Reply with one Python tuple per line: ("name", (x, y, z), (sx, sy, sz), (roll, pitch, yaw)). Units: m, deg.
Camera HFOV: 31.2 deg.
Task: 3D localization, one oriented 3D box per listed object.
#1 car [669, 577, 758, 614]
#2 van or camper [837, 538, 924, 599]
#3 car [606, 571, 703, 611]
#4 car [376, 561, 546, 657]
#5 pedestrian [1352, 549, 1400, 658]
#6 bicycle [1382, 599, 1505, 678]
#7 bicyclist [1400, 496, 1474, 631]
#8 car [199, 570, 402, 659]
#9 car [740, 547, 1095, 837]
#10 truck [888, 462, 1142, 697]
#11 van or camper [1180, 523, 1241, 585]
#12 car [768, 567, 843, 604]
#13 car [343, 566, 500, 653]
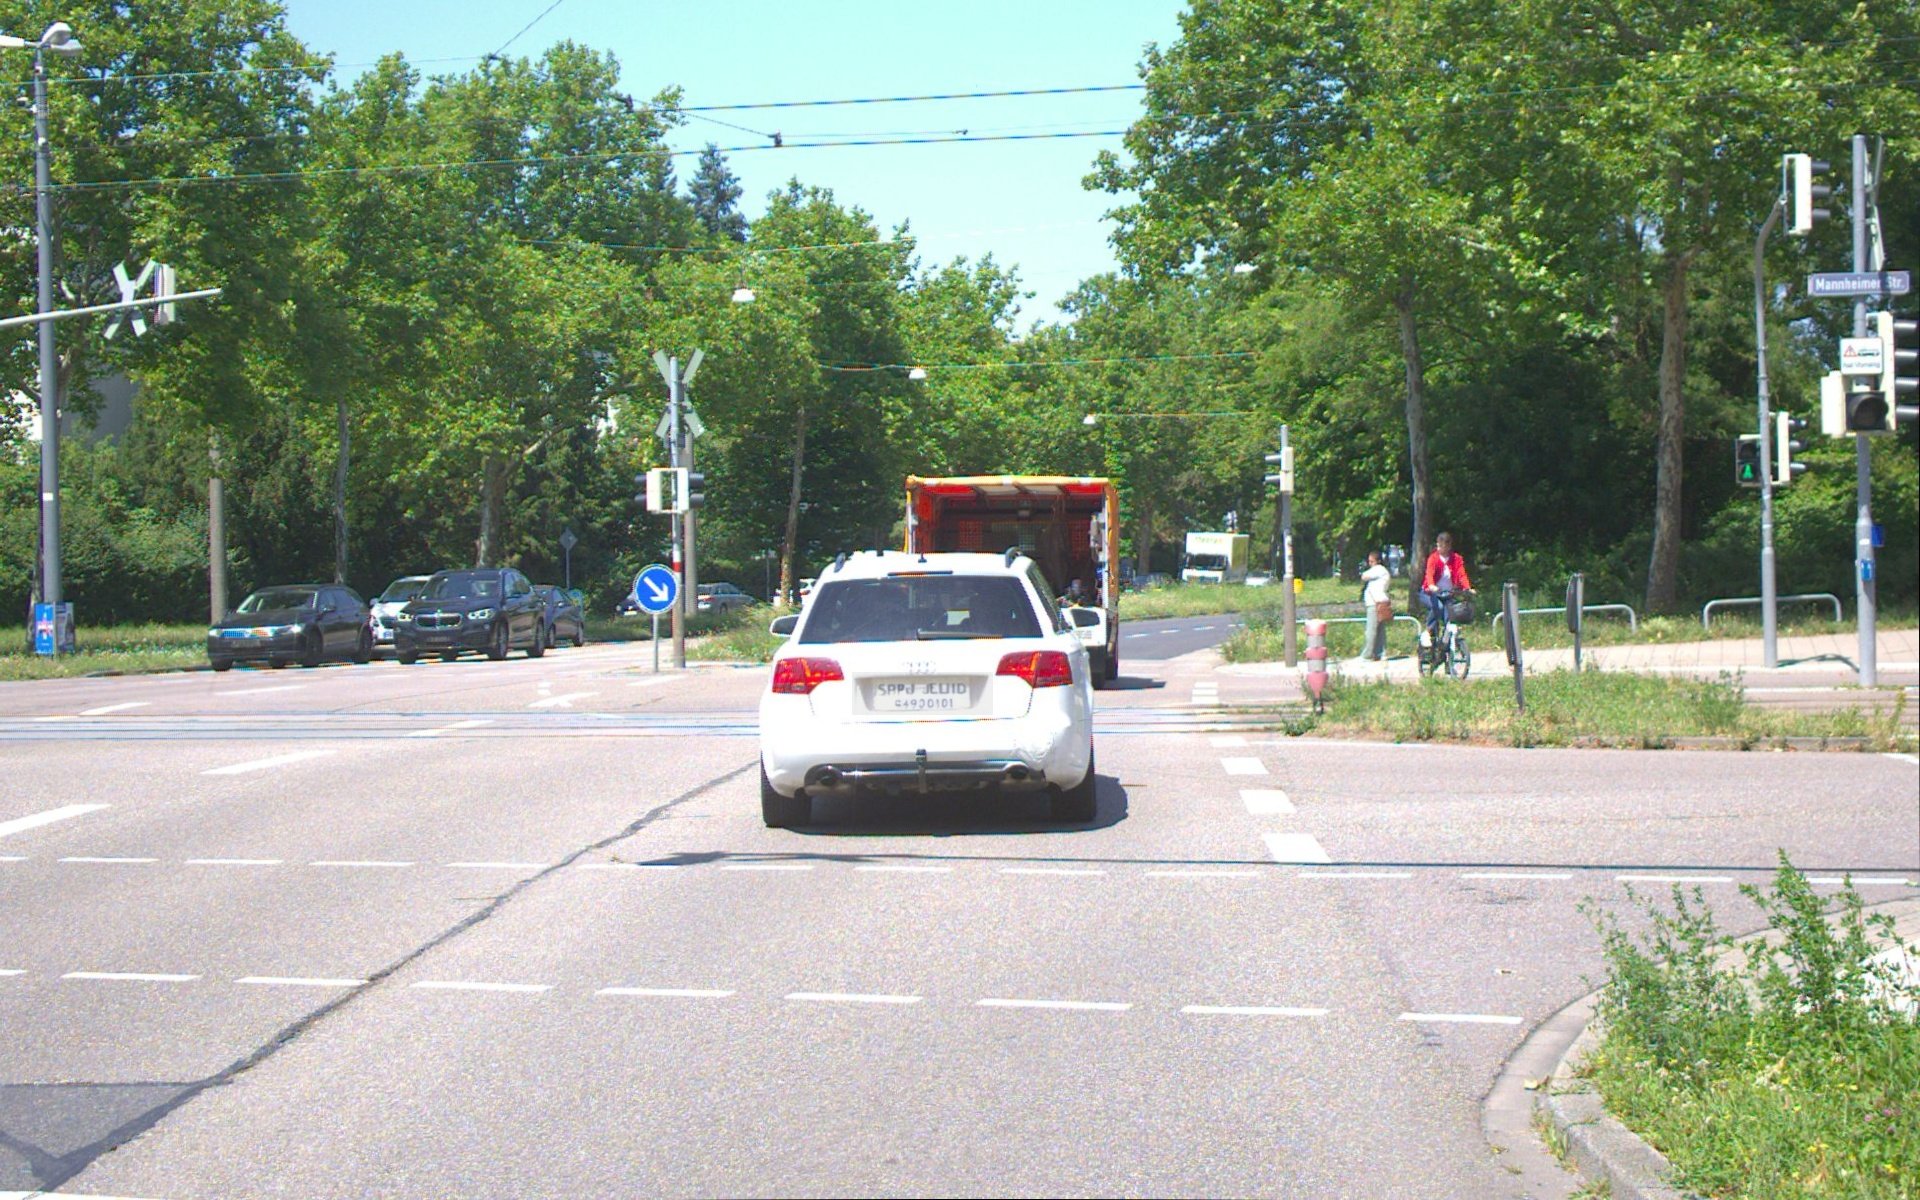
("car", (-9.482, -0.181, 132.506), (1.883, 1.371, 3.996), (-1, 1, 21))
("van or camper", (-3.446, -1.416, 150.818), (2.184, 2.578, 5.304), (-1, 1, 17))
("car", (-11.273, -0.352, 127.224), (1.884, 1.388, 3.995), (-1, 1, 23))
("car", (-8.561, 0.128, 59.295), (1.909, 1.533, 4.298), (-1, 1, 5))
("pedestrian", (5.695, 0.045, 47.067), (0.553, 1.479, 0.629), (-1, 1, 13))
("bicycle", (5.638, 0.441, 40.212), (0.587, 0.892, 1.812), (-1, 1, -22))
("bicyclist", (5.587, -0.426, 40.282), (0.577, 1.551, 0.674), (-1, 0, -21))
("car", (-11.593, 0.231, 60.777), (1.950, 1.435, 4.744), (-1, 1, 10))
("car", (-0.190, 0.431, 18.871), (1.762, 1.440, 3.616), (0, 1, 1))
("truck", (0.797, -0.251, 41.330), (2.511, 2.551, 7.602), (0, 0, 5))
("van or camper", (13.800, -2.538, 189.186), (2.662, 3.320, 5.498), (-1, 1, 11))
("car", (-6.376, -0.622, 142.141), (1.883, 1.469, 3.997), (-1, 1, 17))
("car", (-10.575, 0.161, 67.830), (1.788, 1.609, 4.403), (-1, 1, 9))
